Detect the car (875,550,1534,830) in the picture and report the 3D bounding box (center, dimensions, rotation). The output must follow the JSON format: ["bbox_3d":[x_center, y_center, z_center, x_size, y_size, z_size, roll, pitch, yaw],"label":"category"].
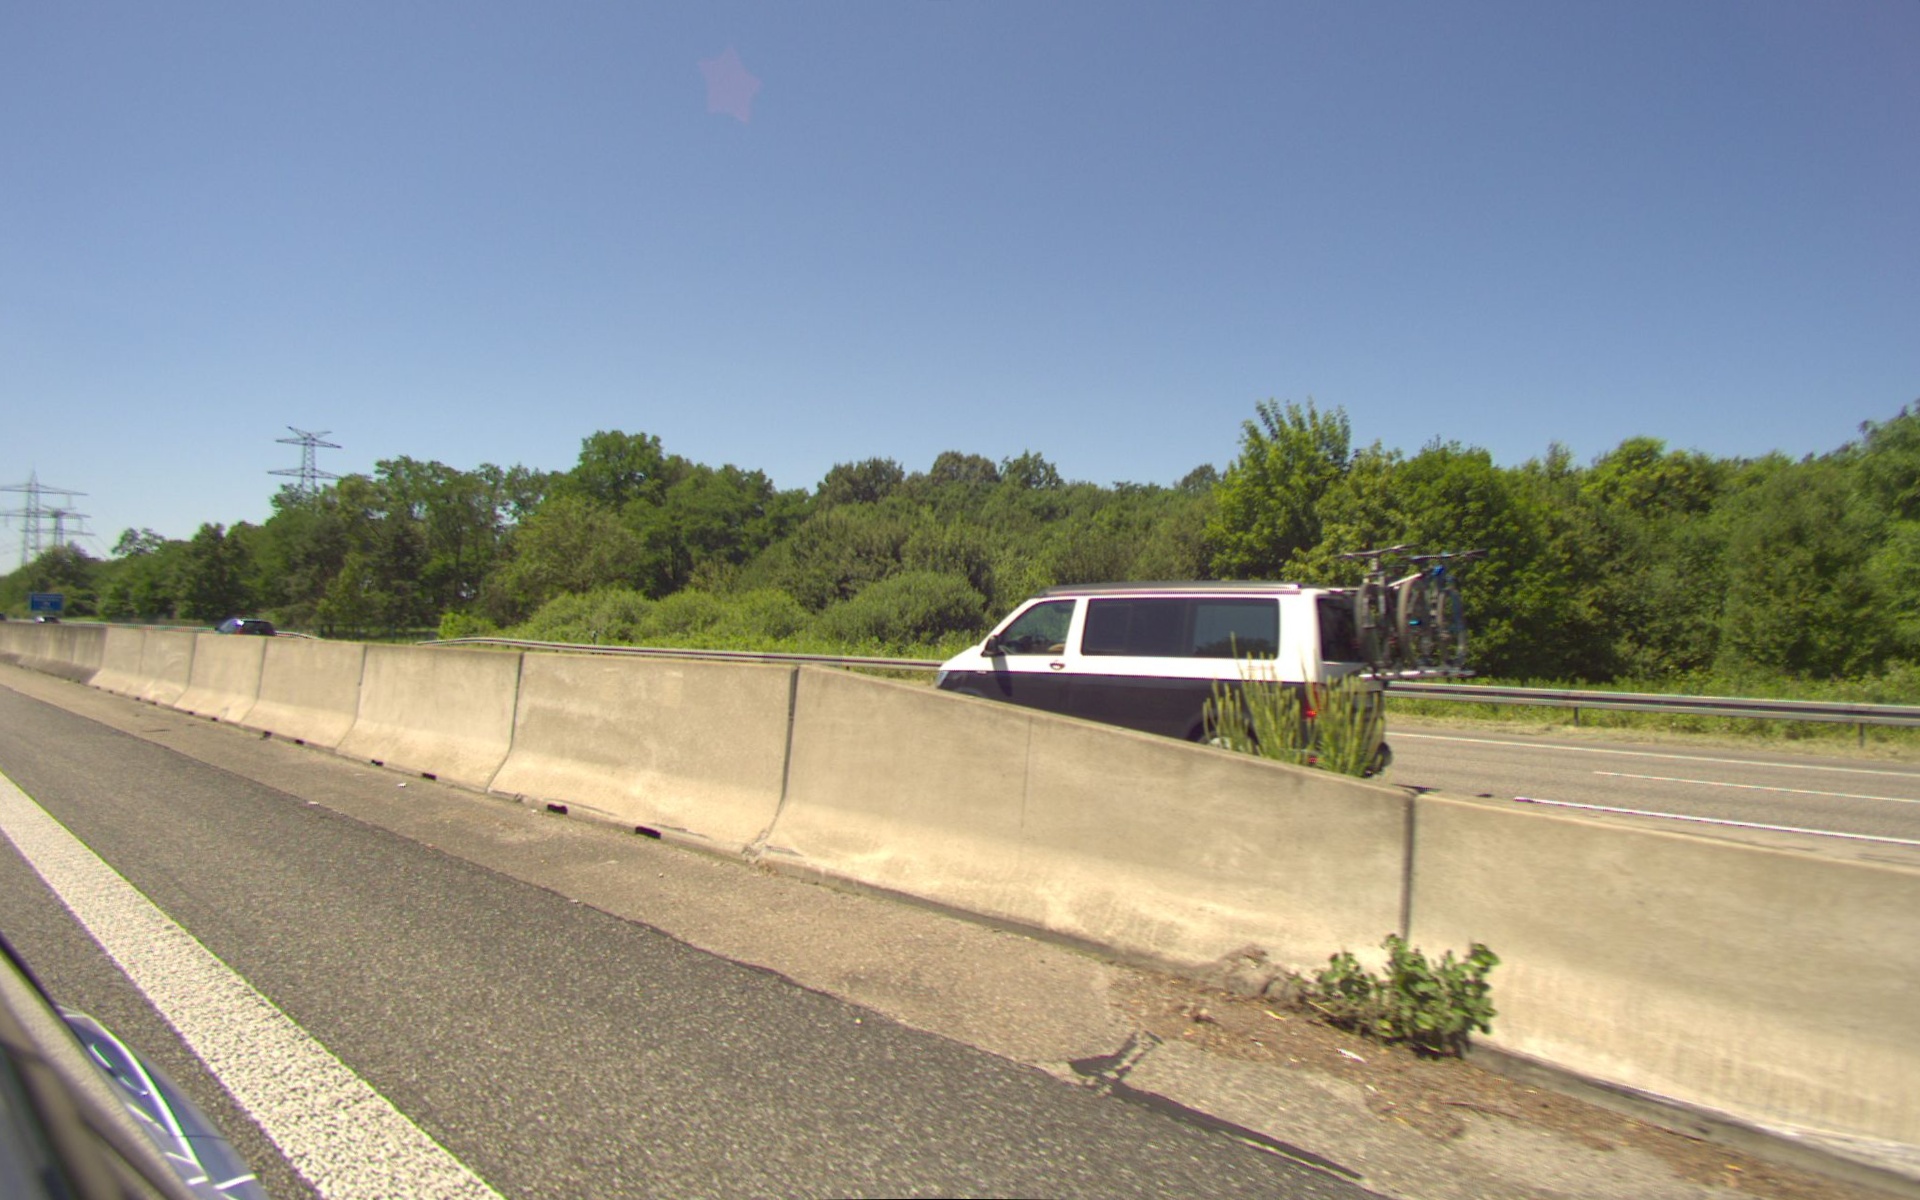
[{"bbox_3d":[2.050,0.729,10.177,6.220,2.029,1.973,0,-4,41],"label":"car"}]

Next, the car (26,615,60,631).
[{"bbox_3d":[-93.678,2.330,103.371,4.822,1.490,1.888,-1,-3,41],"label":"car"}]

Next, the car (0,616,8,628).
[{"bbox_3d":[-124.980,2.795,131.029,4.681,1.570,1.973,-1,-3,41],"label":"car"}]

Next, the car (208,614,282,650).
[{"bbox_3d":[-31.880,1.408,45.087,3.998,1.483,1.751,0,-2,41],"label":"car"}]
